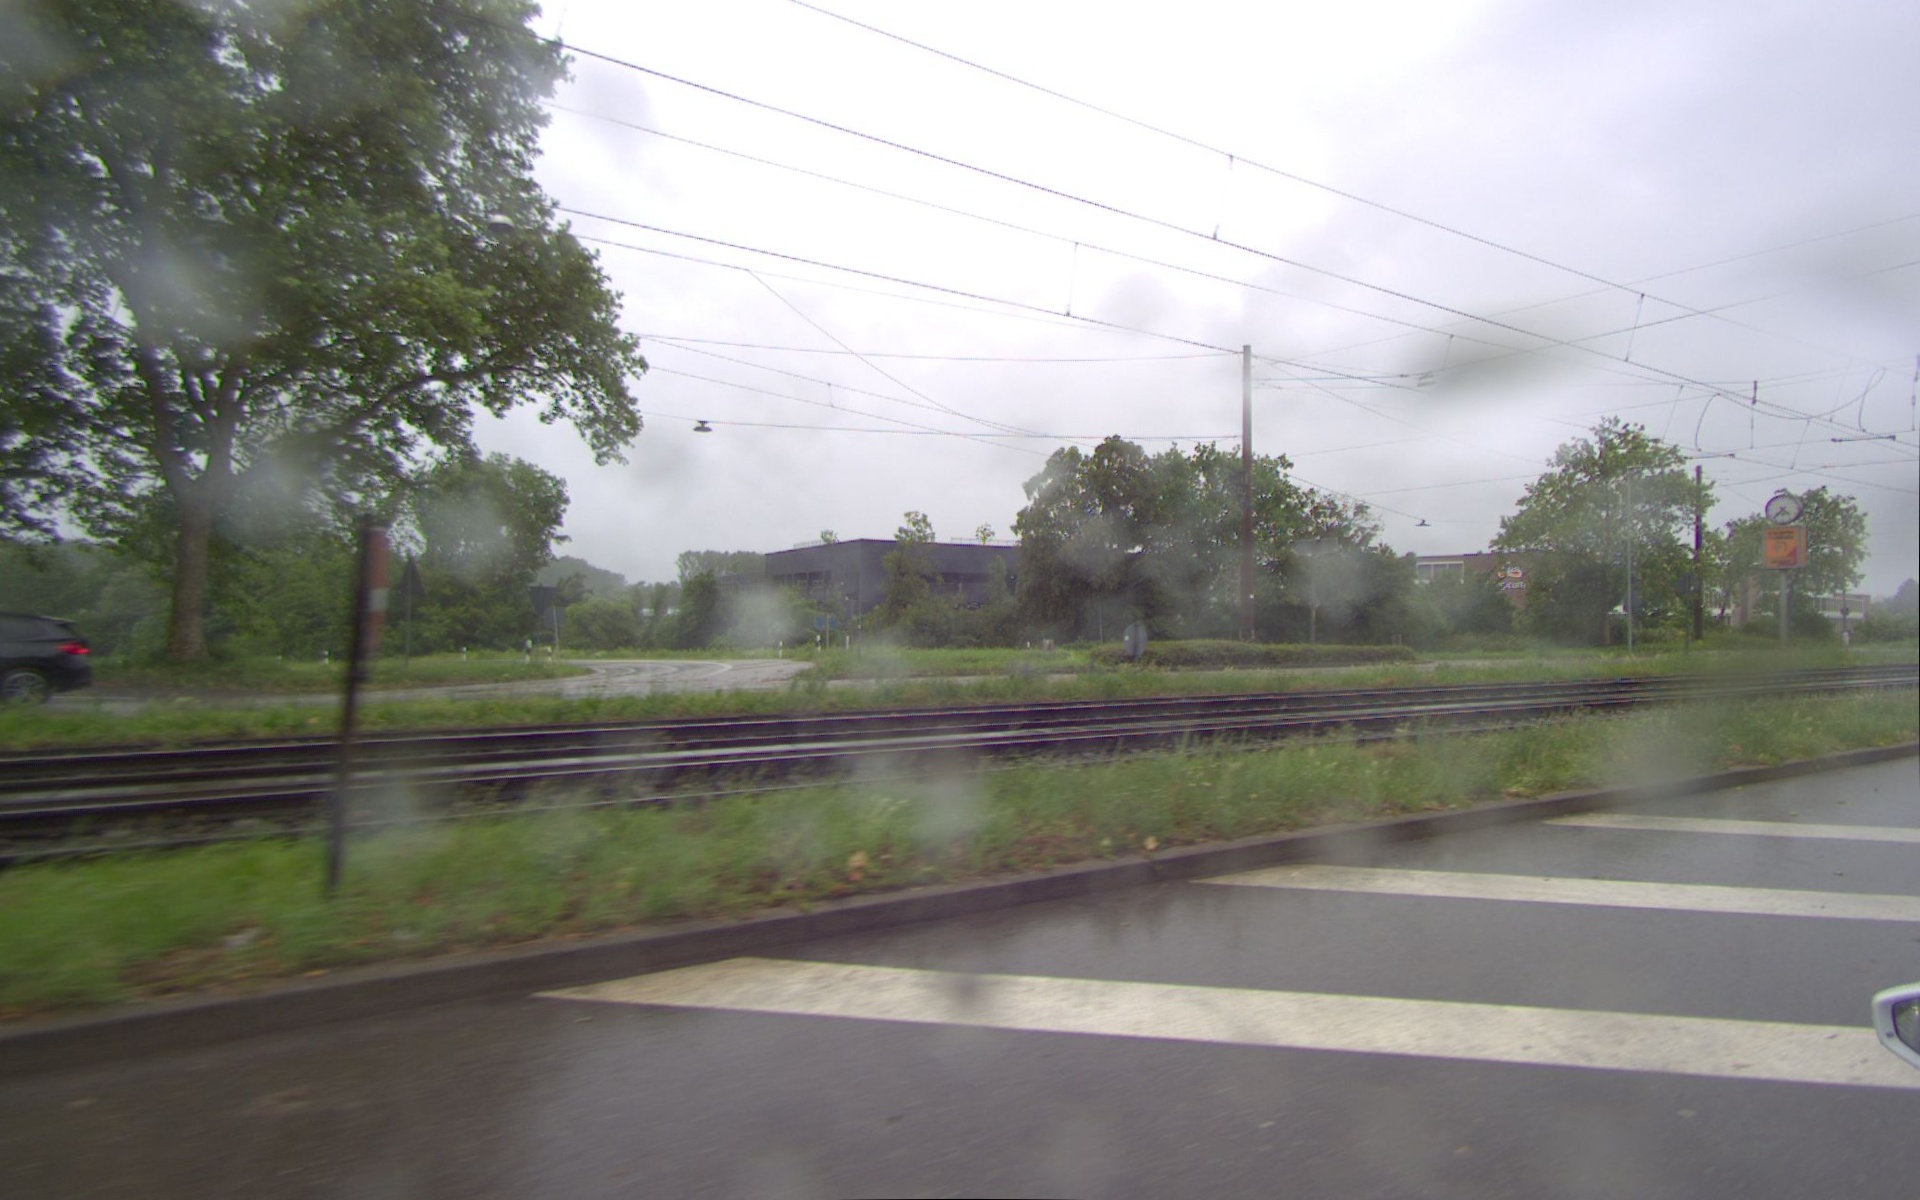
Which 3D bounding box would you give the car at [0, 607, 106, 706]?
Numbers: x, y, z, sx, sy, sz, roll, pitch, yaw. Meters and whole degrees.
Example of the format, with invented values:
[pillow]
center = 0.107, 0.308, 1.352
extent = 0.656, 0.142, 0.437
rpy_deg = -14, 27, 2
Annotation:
[car]
center = -16.613, 0.885, 16.031
extent = 2.186, 1.549, 4.259
rpy_deg = 1, 0, 40
